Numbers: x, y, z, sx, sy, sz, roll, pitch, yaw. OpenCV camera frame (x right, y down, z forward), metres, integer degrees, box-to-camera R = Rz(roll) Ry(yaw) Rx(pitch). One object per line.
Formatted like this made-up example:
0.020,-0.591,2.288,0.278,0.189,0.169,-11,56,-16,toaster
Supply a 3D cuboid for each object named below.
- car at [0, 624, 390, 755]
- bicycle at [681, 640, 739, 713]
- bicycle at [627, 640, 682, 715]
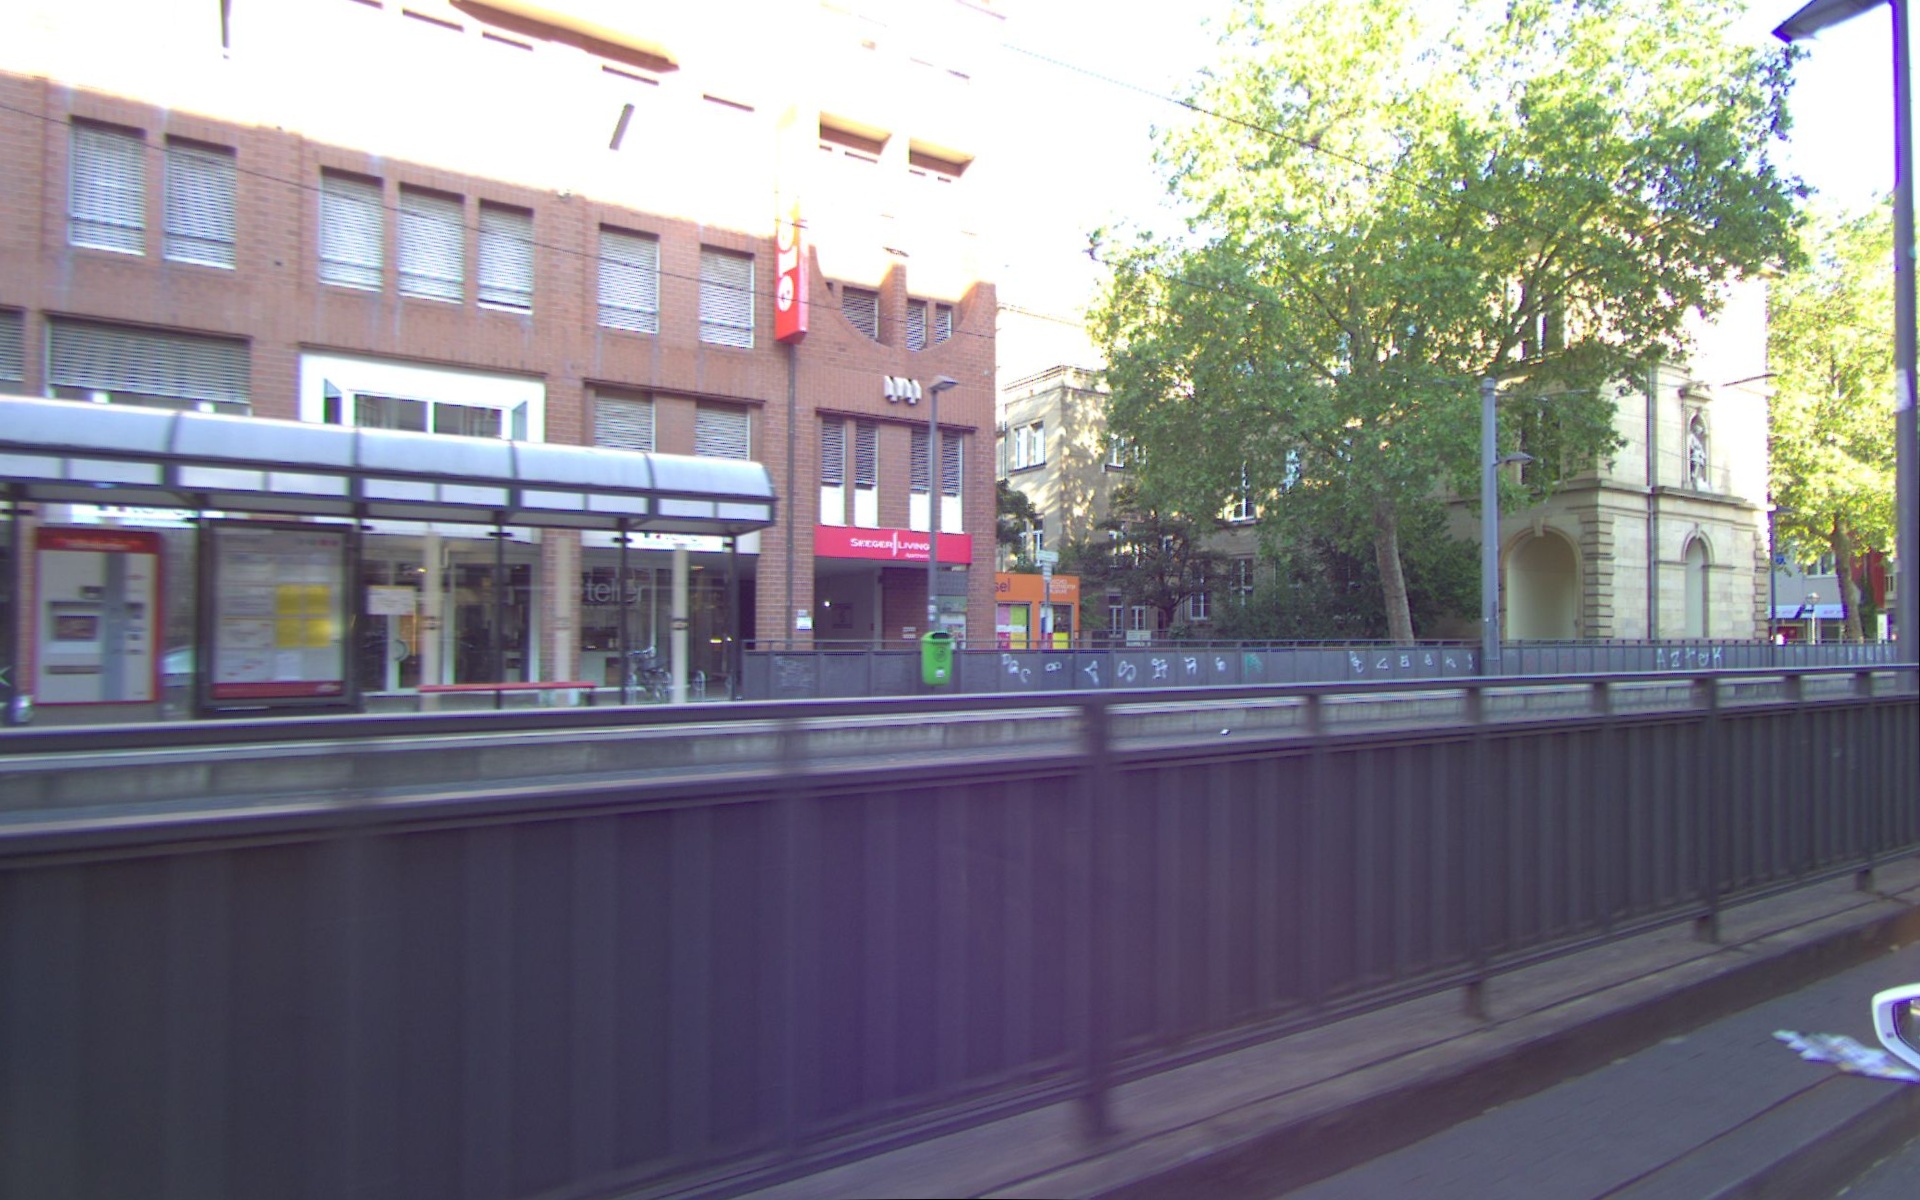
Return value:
-10.522,1.236,14.159,4.240,1.614,1.901,3,-4,-30,car
-5.303,1.578,21.195,0.828,1.299,2.604,2,1,-22,bicycle
-6.342,1.561,20.751,0.828,1.299,2.604,2,1,-22,bicycle
